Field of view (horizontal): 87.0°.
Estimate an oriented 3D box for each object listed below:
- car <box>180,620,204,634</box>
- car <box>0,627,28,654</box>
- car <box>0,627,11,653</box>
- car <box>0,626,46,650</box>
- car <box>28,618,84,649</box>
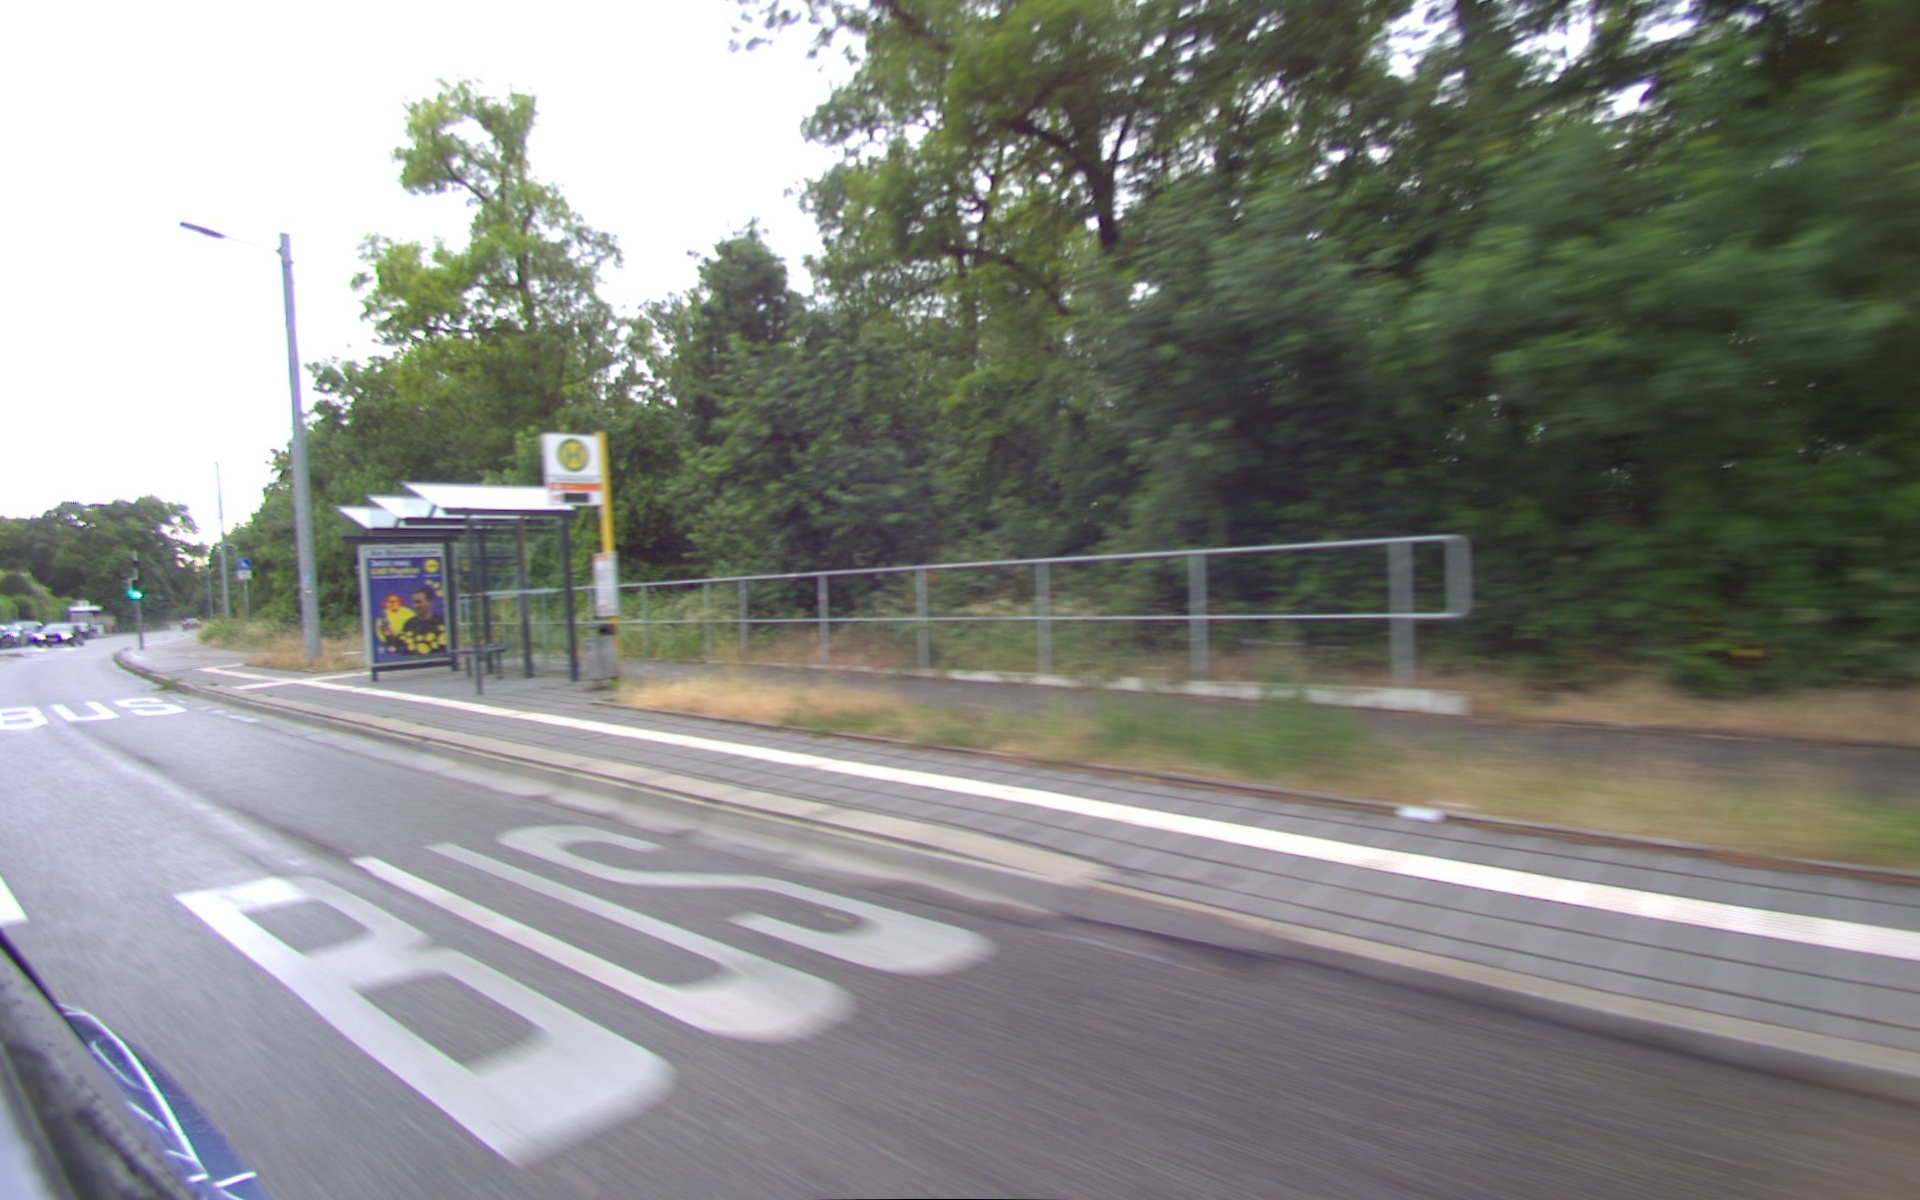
[{"bbox_3d":[-85.138,3.003,112.254,1.720,1.471,4.426,-2,0,-33],"label":"car"},{"bbox_3d":[-60.606,2.576,63.974,1.769,1.498,4.507,-2,1,-34],"label":"car"},{"bbox_3d":[-57.543,2.422,59.506,1.728,1.454,4.613,-2,1,-33],"label":"car"},{"bbox_3d":[-63.975,2.575,69.083,1.707,1.579,4.534,-1,-1,-33],"label":"car"},{"bbox_3d":[-55.261,2.032,61.920,1.966,1.737,4.011,-2,0,-33],"label":"car"}]
